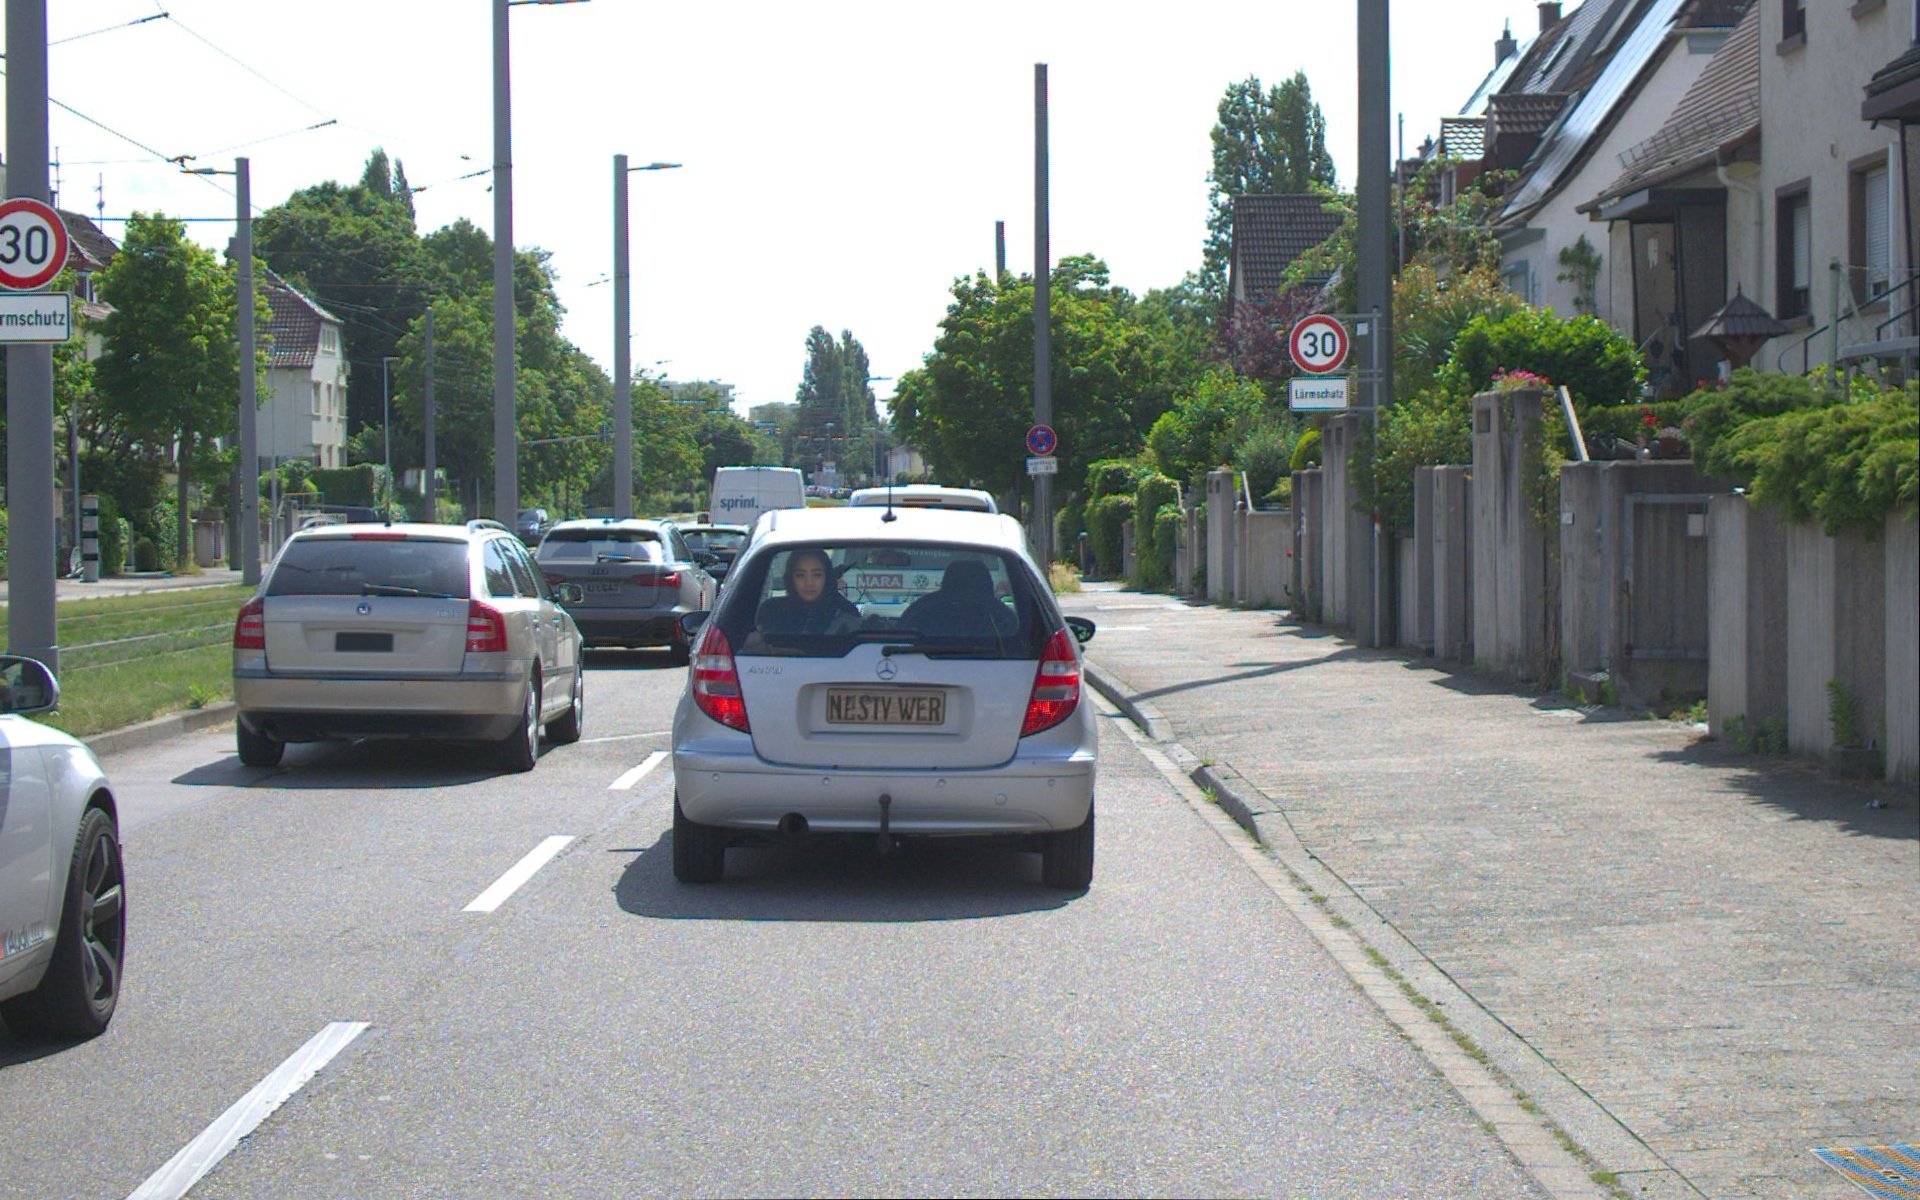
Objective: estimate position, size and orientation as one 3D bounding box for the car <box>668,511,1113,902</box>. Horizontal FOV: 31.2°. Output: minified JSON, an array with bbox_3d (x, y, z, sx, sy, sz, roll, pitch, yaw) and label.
[{"bbox_3d":[-0.368,0.379,15.606,1.730,1.511,4.017,1,1,-3],"label":"car"}]

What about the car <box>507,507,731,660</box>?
[{"bbox_3d":[-3.518,-0.220,36.231,1.916,1.472,4.562,1,1,-1],"label":"car"}]

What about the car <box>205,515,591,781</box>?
[{"bbox_3d":[-3.361,0.224,21.269,1.731,1.444,4.123,1,1,-1],"label":"car"}]

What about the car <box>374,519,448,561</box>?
[{"bbox_3d":[-20.492,-2.252,128.512,1.916,1.472,4.562,1,1,1],"label":"car"}]

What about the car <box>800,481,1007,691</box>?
[{"bbox_3d":[-0.461,-0.161,31.531,1.730,1.756,4.017,1,1,1],"label":"car"}]

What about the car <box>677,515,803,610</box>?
[{"bbox_3d":[-3.416,-0.613,54.068,1.852,1.383,4.515,1,1,-3],"label":"car"}]

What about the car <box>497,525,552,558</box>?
[{"bbox_3d":[-20.700,-2.789,163.463,1.916,1.472,4.562,1,1,1],"label":"car"}]

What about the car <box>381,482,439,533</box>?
[{"bbox_3d":[-25.958,-4.379,162.359,1.916,2.322,4.562,1,1,1],"label":"car"}]

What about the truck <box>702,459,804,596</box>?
[{"bbox_3d":[-4.027,-1.425,67.629,1.852,2.543,5.856,1,1,-3],"label":"truck"}]

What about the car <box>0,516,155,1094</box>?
[{"bbox_3d":[-3.315,0.526,8.172,1.794,1.467,4.722,1,1,-1],"label":"car"}]
